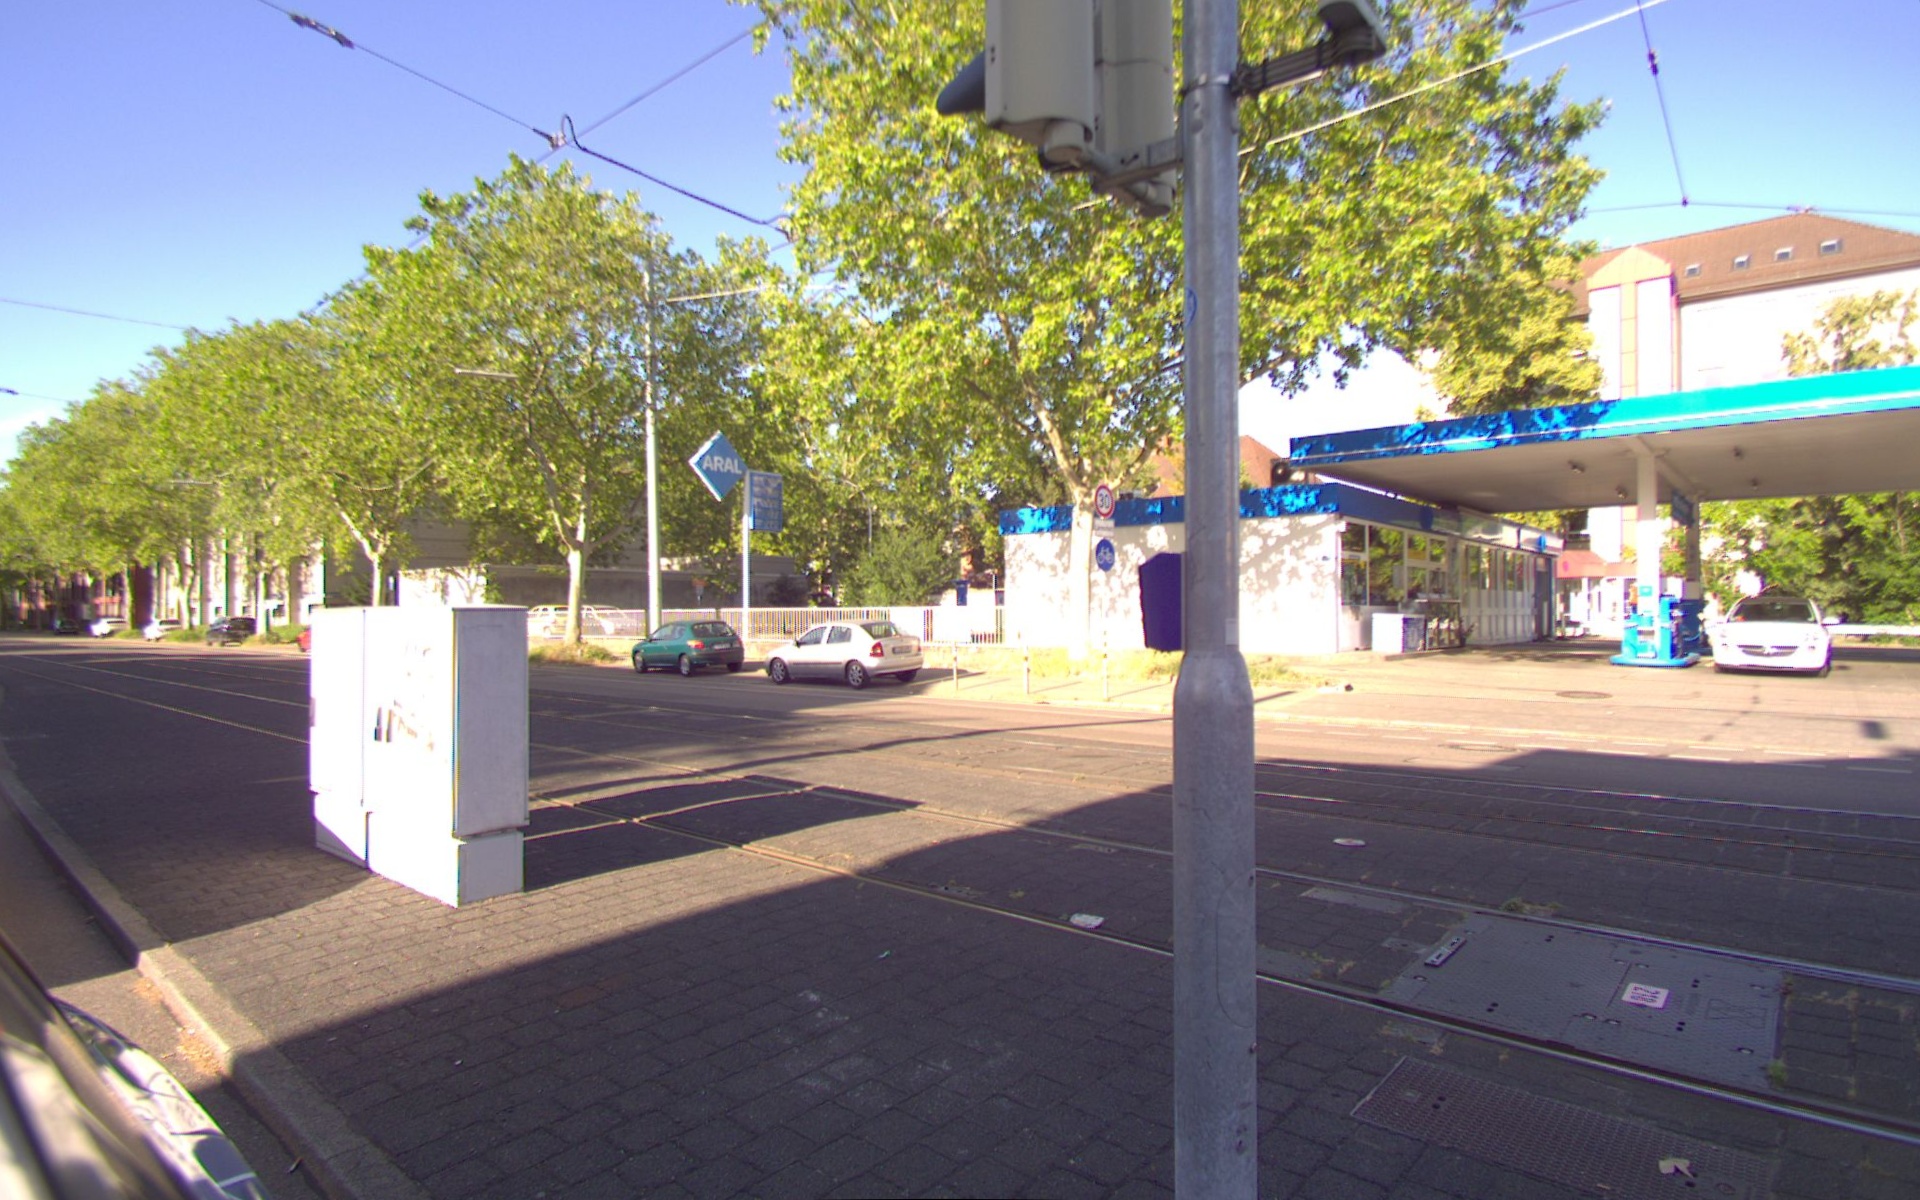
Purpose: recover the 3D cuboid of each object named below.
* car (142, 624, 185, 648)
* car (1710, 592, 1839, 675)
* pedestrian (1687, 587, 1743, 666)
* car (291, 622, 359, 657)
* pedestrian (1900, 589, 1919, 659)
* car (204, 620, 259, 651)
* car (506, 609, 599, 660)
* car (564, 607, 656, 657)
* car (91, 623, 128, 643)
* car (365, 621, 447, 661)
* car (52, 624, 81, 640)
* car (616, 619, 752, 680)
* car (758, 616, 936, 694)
[{"bbox_3d":[-53.639,2.403,68.121,3.858,1.495,1.735,-1,0,43],"label":"car"},{"bbox_3d":[15.941,0.615,19.783,1.793,1.453,3.946,-1,-1,40],"label":"car"},{"bbox_3d":[16.056,0.557,21.525,0.637,1.642,0.814,1,-2,-42],"label":"pedestrian"},{"bbox_3d":[-28.912,1.777,46.045,3.858,1.440,1.695,-1,0,43],"label":"car"},{"bbox_3d":[25.403,0.615,26.429,0.887,1.815,0.907,-1,-1,15],"label":"pedestrian"},{"bbox_3d":[-40.676,1.959,56.485,3.858,1.557,1.735,-1,0,43],"label":"car"},{"bbox_3d":[-17.044,1.397,42.263,3.996,2.029,1.974,-1,-1,39],"label":"car"},{"bbox_3d":[-15.146,1.367,43.690,3.996,2.029,1.974,-1,-1,39],"label":"car"},{"bbox_3d":[-66.927,2.584,79.640,3.858,1.495,1.735,-1,0,43],"label":"car"},{"bbox_3d":[-21.985,1.591,40.091,3.858,1.468,1.735,-1,0,43],"label":"car"},{"bbox_3d":[-84.874,3.018,96.115,3.858,1.495,1.735,-1,0,43],"label":"car"},{"bbox_3d":[-7.433,1.276,27.076,3.858,1.408,1.722,-1,1,43],"label":"car"},{"bbox_3d":[-2.573,1.169,22.597,3.857,1.497,1.823,-1,1,42],"label":"car"}]
